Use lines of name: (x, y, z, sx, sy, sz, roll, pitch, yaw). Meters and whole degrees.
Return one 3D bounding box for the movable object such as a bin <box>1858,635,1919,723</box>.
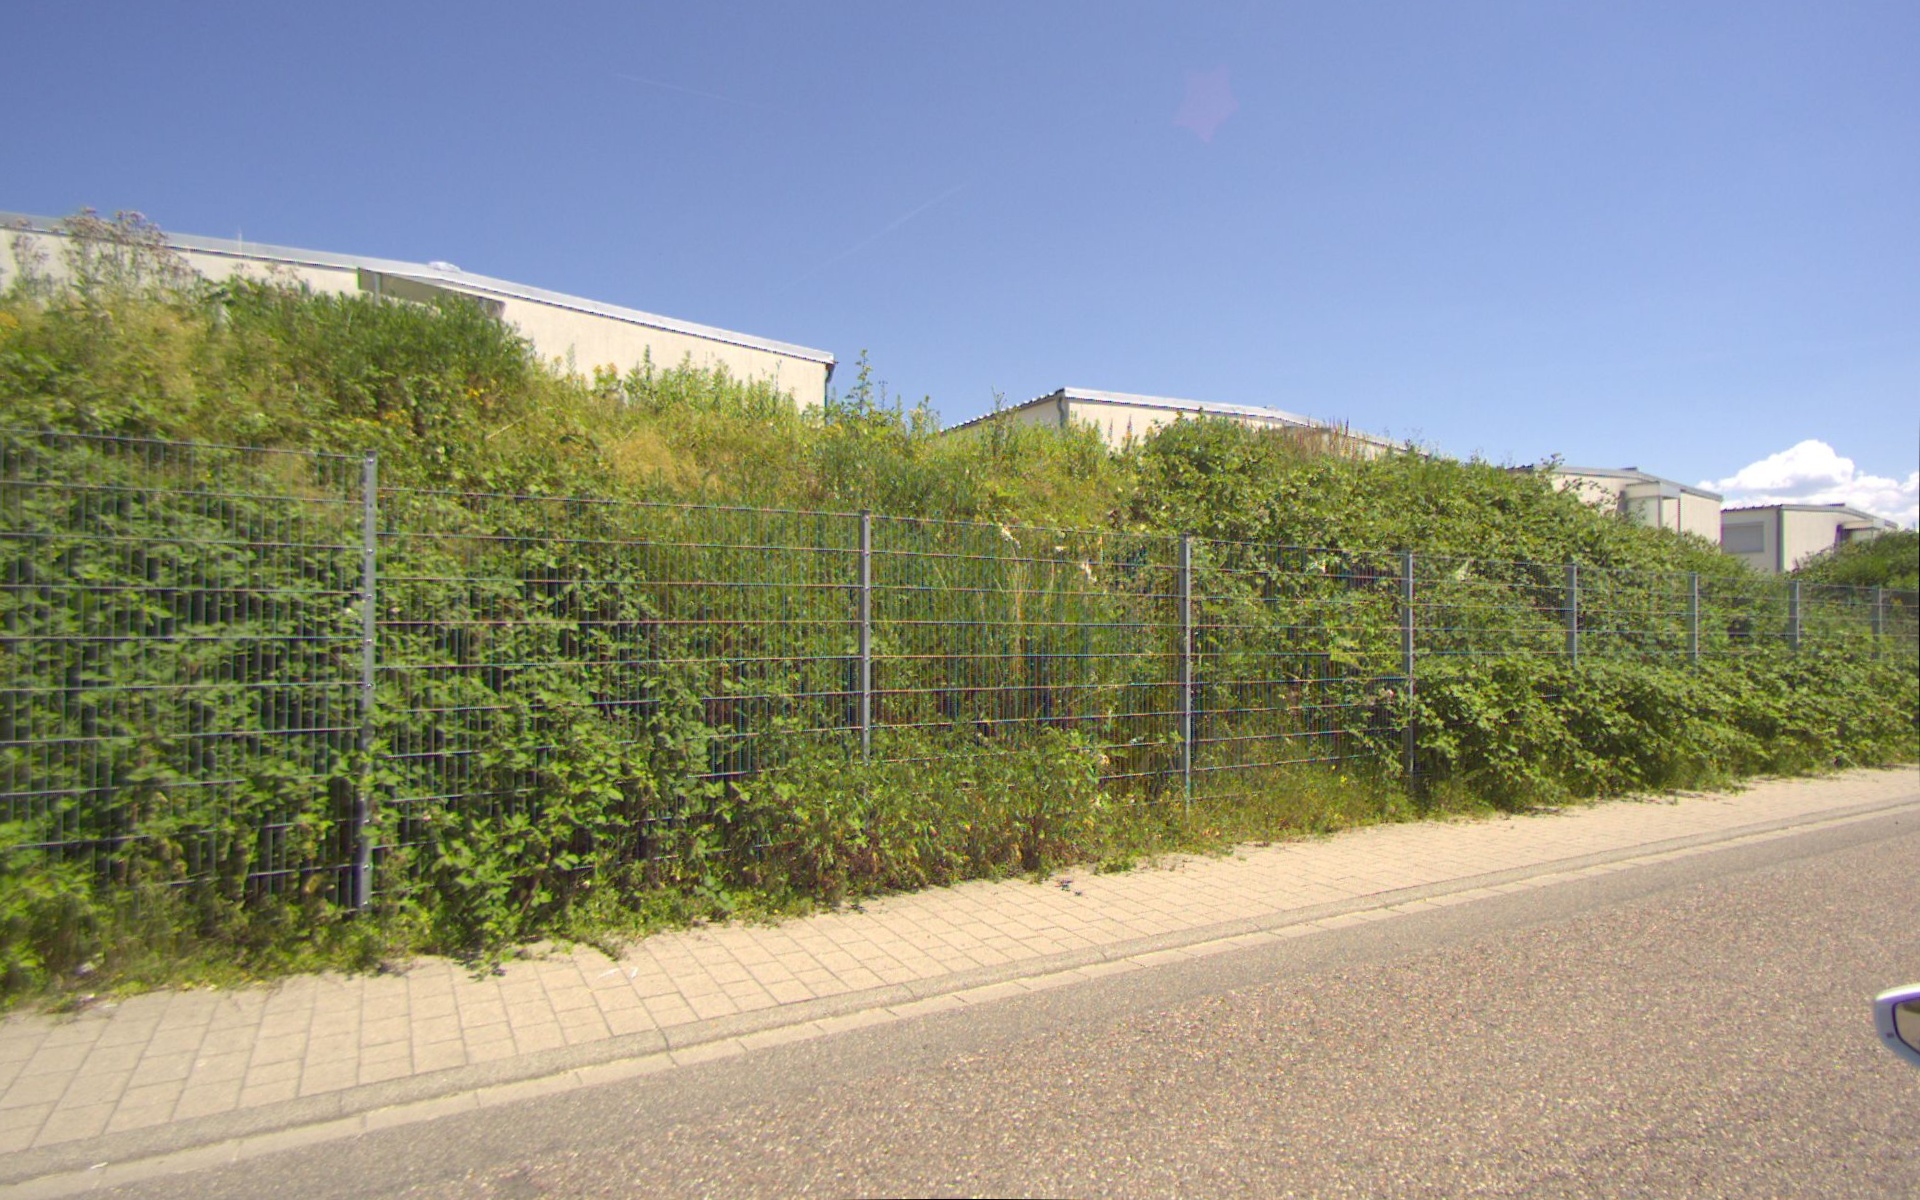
movable object such as a bin: (17.162, 1.392, 17.843, 1.817, 1.496, 1.297, 1, -2, -30)
